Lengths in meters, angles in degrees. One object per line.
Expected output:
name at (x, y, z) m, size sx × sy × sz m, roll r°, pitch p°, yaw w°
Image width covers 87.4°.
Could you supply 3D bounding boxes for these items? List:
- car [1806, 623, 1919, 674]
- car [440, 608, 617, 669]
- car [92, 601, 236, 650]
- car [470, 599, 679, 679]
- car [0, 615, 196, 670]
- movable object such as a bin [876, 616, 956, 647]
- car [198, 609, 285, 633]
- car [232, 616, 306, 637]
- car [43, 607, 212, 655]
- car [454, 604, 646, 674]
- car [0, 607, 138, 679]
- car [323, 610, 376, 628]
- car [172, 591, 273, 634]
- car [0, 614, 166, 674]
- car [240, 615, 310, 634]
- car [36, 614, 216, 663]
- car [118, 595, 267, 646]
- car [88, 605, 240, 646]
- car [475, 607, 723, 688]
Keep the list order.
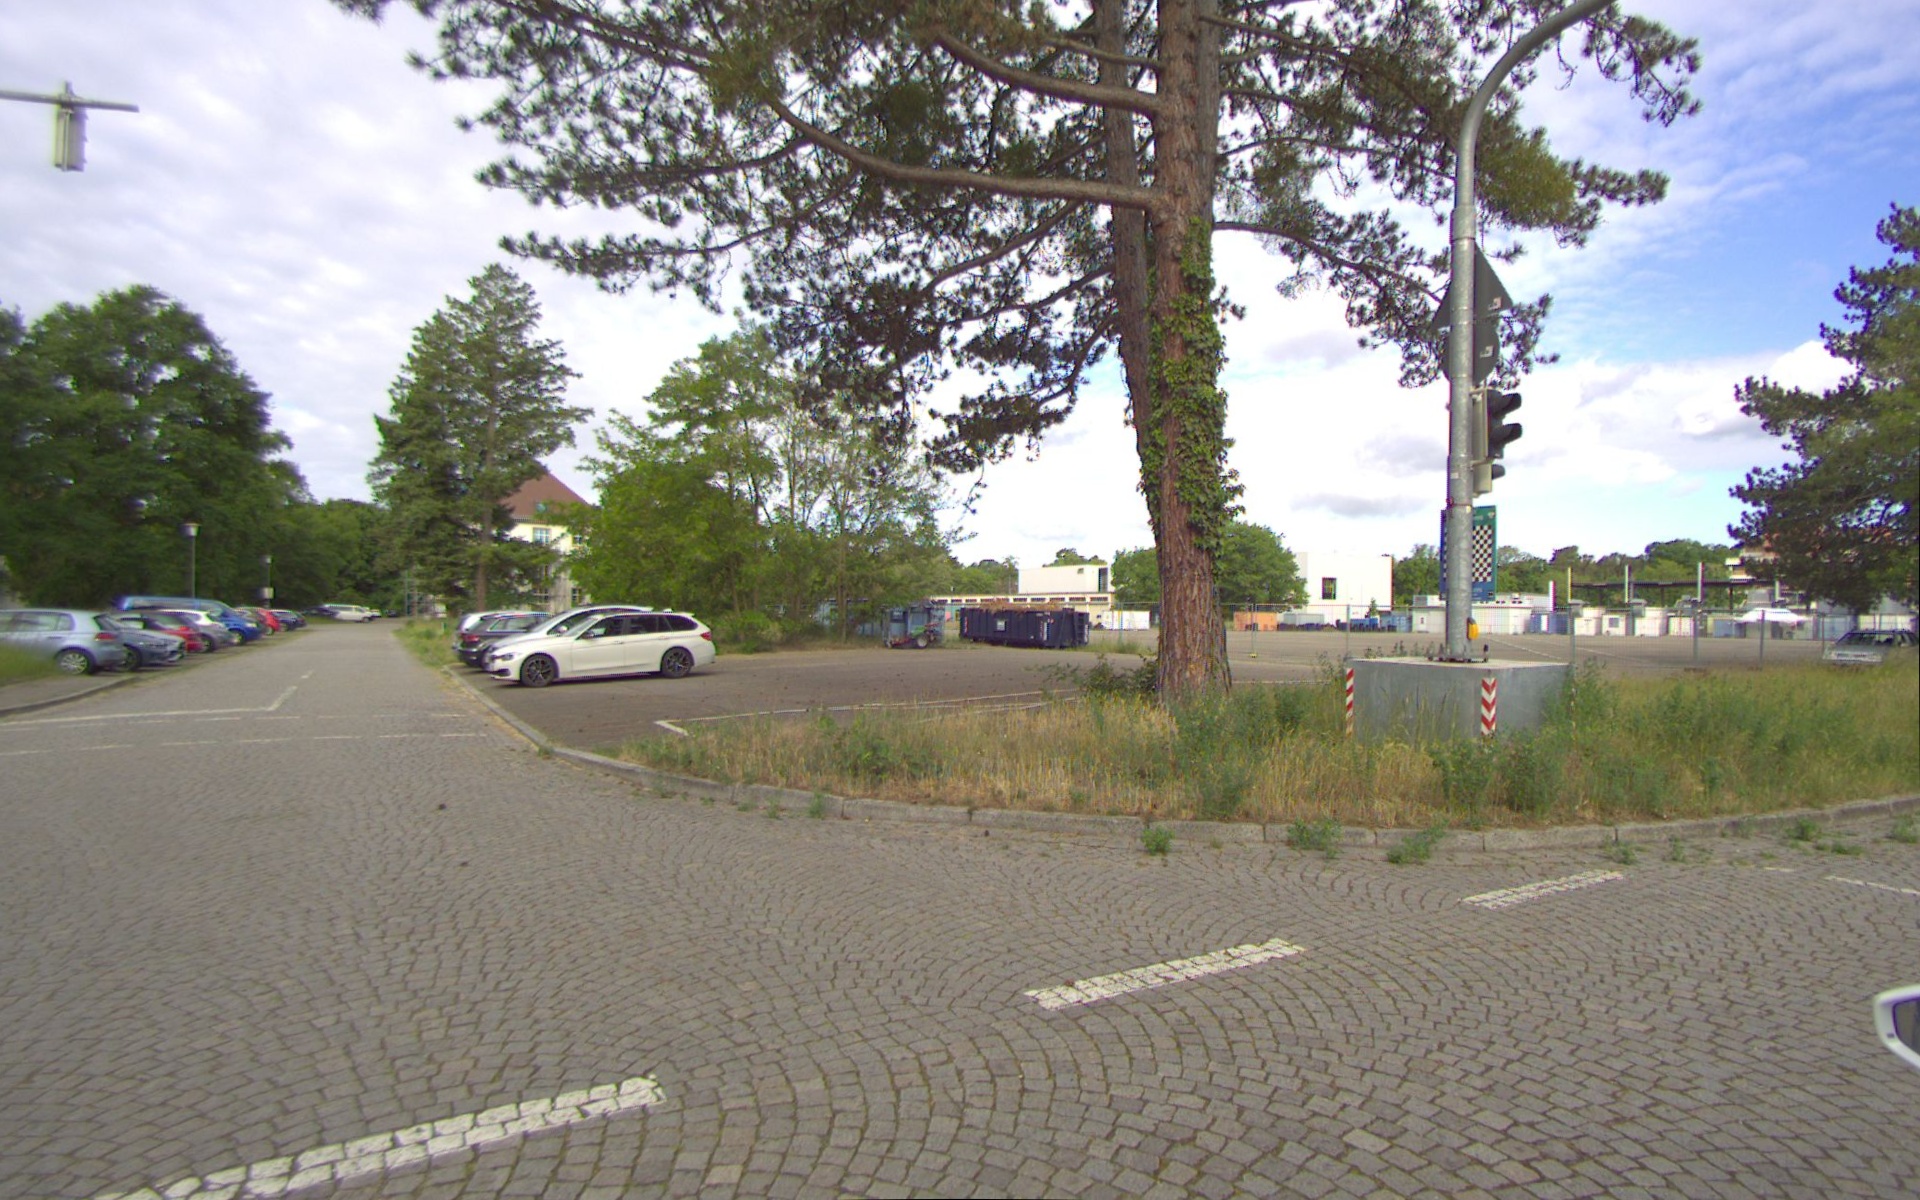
car at (28.872, 1.523, 32.114) m, size 3.954 × 1.507 × 1.605 m, roll 1°, pitch 0°, yaw -31°
car at (-11.995, 1.030, 28.035) m, size 4.282 × 1.587 × 1.782 m, roll 1°, pitch -1°, yaw -34°
car at (-29.681, 0.917, 37.607) m, size 3.951 × 1.737 × 1.678 m, roll 0°, pitch 0°, yaw -29°
car at (-9.020, 0.849, 23.645) m, size 4.281 × 1.605 × 1.810 m, roll -2°, pitch 1°, yaw -34°
car at (-22.776, 1.096, 26.512) m, size 3.953 × 1.372 × 1.677 m, roll 1°, pitch -1°, yaw -30°
movable object such as a bin at (-1.542, 1.109, 35.594) m, size 2.633 × 1.062 × 1.170 m, roll 1°, pitch -1°, yaw -36°
car at (-41.872, 1.224, 58.620) m, size 3.953 × 1.372 × 1.677 m, roll 1°, pitch -1°, yaw -30°
car at (-46.589, 1.803, 67.771) m, size 3.953 × 1.372 × 1.677 m, roll 1°, pitch -1°, yaw -30°
car at (-26.902, 0.996, 32.620) m, size 3.953 × 1.457 × 1.677 m, roll 1°, pitch -1°, yaw -30°
car at (-10.519, 0.935, 25.902) m, size 4.281 × 1.522 × 1.843 m, roll -2°, pitch 1°, yaw -34°
car at (-20.473, 0.903, 21.722) m, size 3.956 × 1.492 × 1.676 m, roll 1°, pitch -1°, yaw -32°
car at (-69.354, 2.190, 114.167) m, size 5.105 × 2.040 × 1.983 m, roll 1°, pitch -1°, yaw -32°
car at (-36.562, 0.649, 49.929) m, size 3.959 × 2.040 × 1.853 m, roll 1°, pitch -1°, yaw -34°
car at (-21.634, 1.026, 23.985) m, size 3.953 × 1.372 × 1.677 m, roll 1°, pitch -1°, yaw -30°
car at (-48.742, 1.746, 71.579) m, size 3.953 × 1.372 × 1.677 m, roll 1°, pitch -1°, yaw -30°
car at (-25.191, 1.150, 30.533) m, size 3.953 × 1.372 × 1.677 m, roll 1°, pitch -1°, yaw -30°
car at (-32.117, 0.827, 42.231) m, size 4.738 × 2.007 × 1.981 m, roll 0°, pitch 0°, yaw -31°
car at (-27.797, 0.886, 35.245) m, size 3.953 × 1.372 × 1.677 m, roll 1°, pitch -1°, yaw -30°
car at (-7.637, 0.930, 21.431) m, size 4.690 × 1.461 × 1.799 m, roll -1°, pitch 1°, yaw -34°
